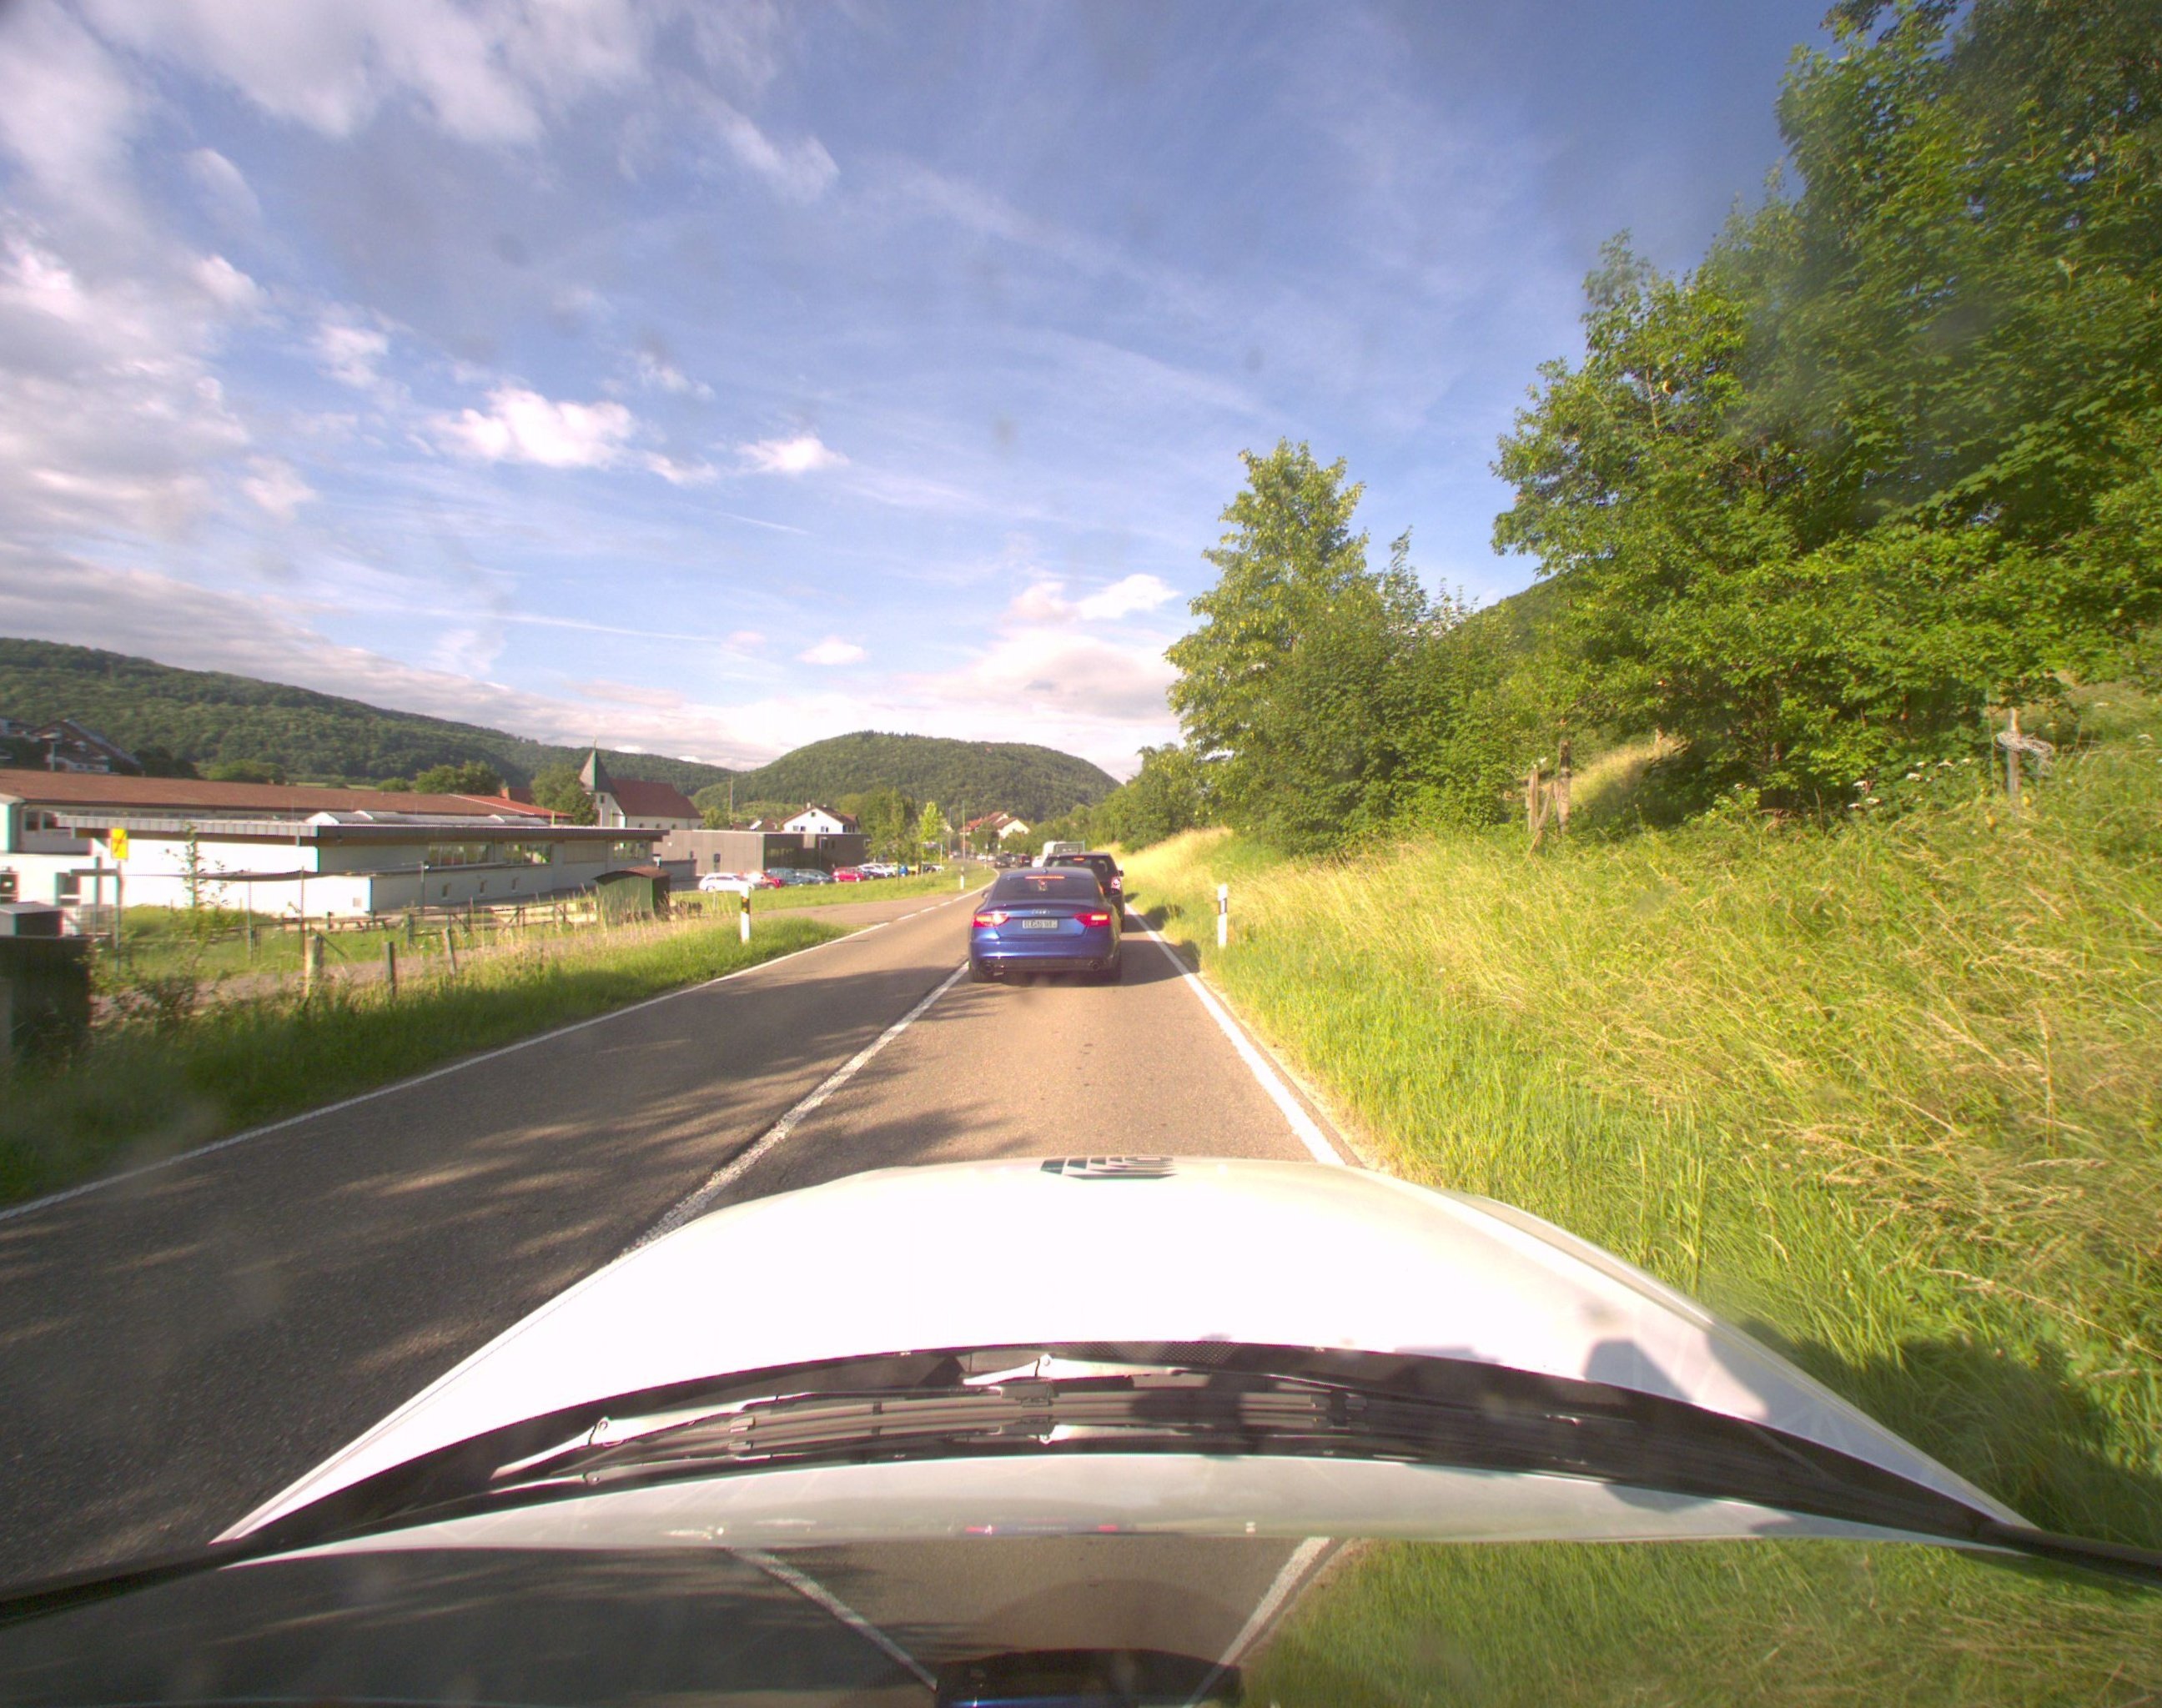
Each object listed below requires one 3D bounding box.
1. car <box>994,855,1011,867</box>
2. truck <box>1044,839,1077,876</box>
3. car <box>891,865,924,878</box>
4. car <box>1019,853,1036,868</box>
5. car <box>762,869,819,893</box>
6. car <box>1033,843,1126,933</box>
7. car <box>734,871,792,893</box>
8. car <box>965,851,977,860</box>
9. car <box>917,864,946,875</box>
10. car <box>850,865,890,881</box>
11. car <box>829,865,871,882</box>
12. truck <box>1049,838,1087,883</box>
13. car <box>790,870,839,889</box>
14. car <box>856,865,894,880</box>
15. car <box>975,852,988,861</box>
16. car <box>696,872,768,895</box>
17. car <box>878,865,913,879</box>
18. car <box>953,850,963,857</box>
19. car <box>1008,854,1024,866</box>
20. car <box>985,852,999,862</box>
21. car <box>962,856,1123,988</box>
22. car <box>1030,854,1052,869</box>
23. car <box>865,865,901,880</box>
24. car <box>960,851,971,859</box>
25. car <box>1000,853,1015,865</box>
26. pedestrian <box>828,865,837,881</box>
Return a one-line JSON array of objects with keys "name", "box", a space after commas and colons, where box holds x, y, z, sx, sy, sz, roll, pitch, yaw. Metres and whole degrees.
[{"name": "car", "box": [-9.276, 0.804, 95.974, 1.705, 1.430, 4.035, 0, -1, -11]}, {"name": "truck", "box": [-1.578, 0.257, 60.758, 2.225, 2.570, 6.699, 0, -1, -3]}, {"name": "car", "box": [-22.815, 2.278, 107.085, 3.976, 1.711, 1.999, 0, -1, -2]}, {"name": "car", "box": [-6.256, 0.749, 94.946, 1.843, 1.712, 3.991, 0, -1, -7]}, {"name": "car", "box": [-25.768, 2.366, 72.349, 4.394, 2.008, 1.999, 0, -1, -2]}, {"name": "car", "box": [0.049, 0.662, 17.323, 1.747, 1.681, 3.848, 0, -1, 2]}, {"name": "car", "box": [-25.975, 2.313, 66.624, 3.976, 1.711, 1.999, 0, -1, -2]}, {"name": "car", "box": [-22.765, 0.321, 168.938, 1.850, 1.712, 3.977, 0, -1, -17]}, {"name": "car", "box": [-22.226, 2.268, 121.337, 3.976, 1.579, 1.751, 0, -1, -2]}, {"name": "car", "box": [-23.736, 2.140, 91.765, 3.976, 1.711, 1.999, 0, -1, -2]}, {"name": "car", "box": [-24.725, 2.103, 87.199, 3.976, 1.711, 1.999, 0, -1, -2]}, {"name": "truck", "box": [-0.763, 0.410, 50.078, 2.223, 2.570, 6.102, 0, -1, 0]}, {"name": "car", "box": [-24.984, 2.399, 76.461, 3.976, 1.711, 1.999, 0, -1, -2]}, {"name": "car", "box": [-24.142, 2.177, 95.426, 3.976, 1.711, 1.999, 0, -1, -2]}, {"name": "car", "box": [-18.939, 0.447, 154.905, 1.850, 1.712, 3.977, 0, -1, -17]}, {"name": "car", "box": [-27.164, 2.292, 63.545, 4.718, 1.711, 1.999, 0, -1, -2]}, {"name": "car", "box": [-23.804, 2.261, 104.496, 3.976, 1.711, 1.999, 0, -1, -2]}, {"name": "car", "box": [-28.778, -0.115, 190.361, 1.850, 1.712, 3.977, 0, -1, -17]}, {"name": "car", "box": [-9.346, 0.811, 116.935, 1.847, 1.712, 3.982, 0, -1, -13]}, {"name": "car", "box": [-15.639, 0.484, 142.997, 1.847, 1.712, 3.982, 0, -1, -13]}, {"name": "car", "box": [-0.351, 0.757, 10.813, 1.747, 1.430, 3.848, 0, -1, 2]}, {"name": "car", "box": [-3.989, 0.745, 80.730, 1.843, 1.482, 3.991, 0, -1, -7]}, {"name": "car", "box": [-23.976, 2.207, 98.709, 3.976, 1.711, 1.999, 0, -1, -2]}, {"name": "car", "box": [-25.504, 0.164, 179.100, 1.850, 1.712, 3.977, 0, -1, -17]}, {"name": "car", "box": [-11.218, 0.749, 124.424, 1.847, 1.712, 3.982, 0, -1, -13]}, {"name": "pedestrian", "box": [-30.209, 2.311, 98.966, 0.822, 2.014, 0.973, 0, -1, 1]}]
